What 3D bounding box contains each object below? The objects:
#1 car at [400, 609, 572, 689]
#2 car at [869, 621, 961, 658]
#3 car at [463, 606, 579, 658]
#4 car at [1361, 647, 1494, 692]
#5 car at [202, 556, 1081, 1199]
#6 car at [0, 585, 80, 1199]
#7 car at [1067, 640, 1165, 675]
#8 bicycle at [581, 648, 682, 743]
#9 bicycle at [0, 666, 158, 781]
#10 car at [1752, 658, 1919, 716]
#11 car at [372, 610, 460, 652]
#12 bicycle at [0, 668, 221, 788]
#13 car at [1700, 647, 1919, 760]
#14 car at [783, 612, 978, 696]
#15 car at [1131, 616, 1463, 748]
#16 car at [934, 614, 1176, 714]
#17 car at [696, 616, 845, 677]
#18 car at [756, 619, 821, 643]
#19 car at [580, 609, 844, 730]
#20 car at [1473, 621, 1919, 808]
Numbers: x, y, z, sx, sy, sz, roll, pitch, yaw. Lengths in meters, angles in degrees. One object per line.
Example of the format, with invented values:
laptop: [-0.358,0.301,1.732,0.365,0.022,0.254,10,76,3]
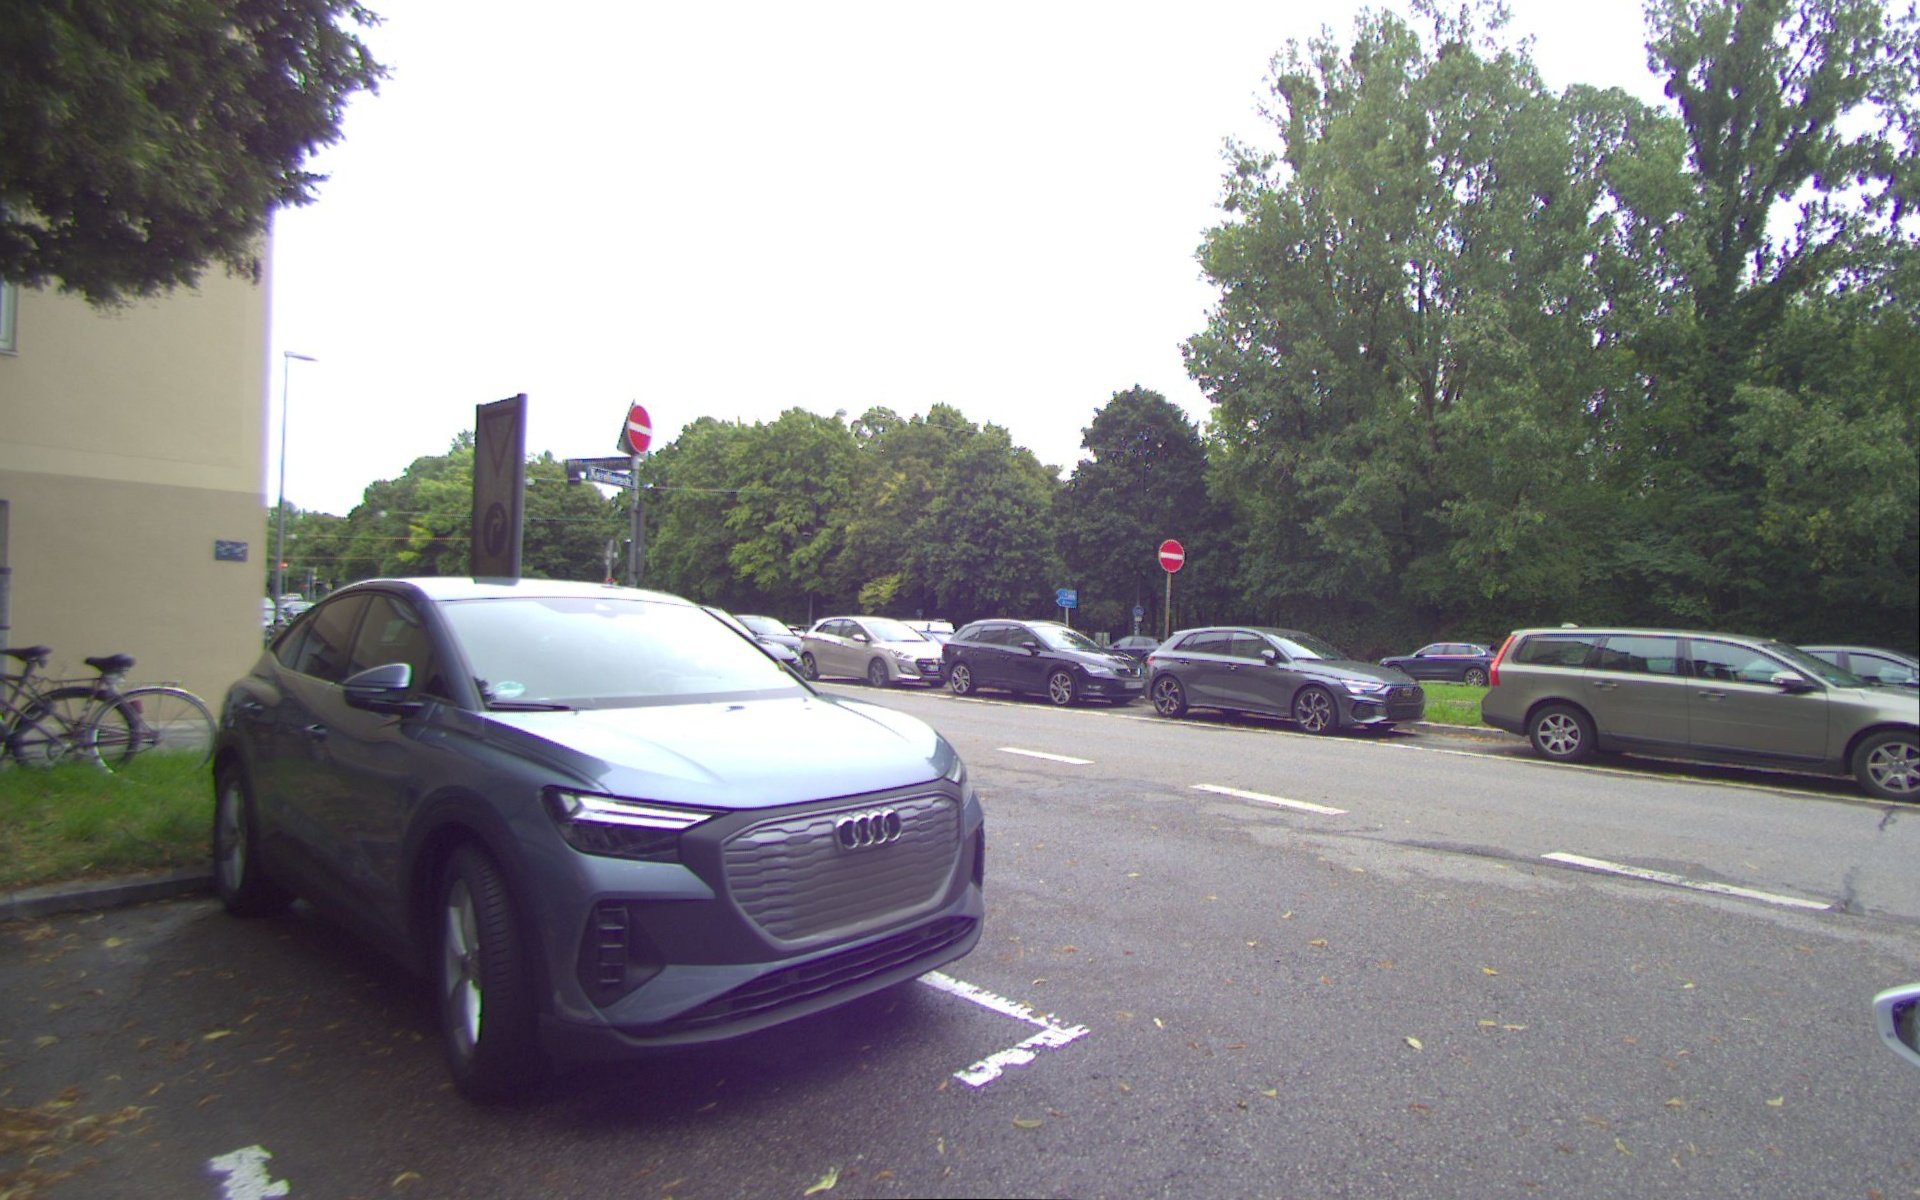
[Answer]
car: [-10.759,1.019,22.667,4.446,1.586,2.118,0,-1,45]
car: [-2.005,1.729,44.270,1.985,1.465,3.951,3,-2,-42]
car: [-16.314,1.162,37.176,5.018,1.725,2.065,1,-2,43]
car: [17.940,2.641,38.677,4.255,1.465,1.990,0,-3,42]
car: [-1.719,0.713,4.405,4.185,1.586,1.816,1,-2,43]
car: [-3.786,0.666,2.421,4.185,1.486,2.044,1,-2,43]
car: [7.473,2.744,48.250,4.255,1.465,1.990,0,-3,42]
bicycle: [-4.176,1.173,12.692,0.628,1.051,1.716,3,-2,-38]
bicycle: [-6.070,0.805,6.649,0.278,0.717,1.143,1,-2,43]
car: [26.893,2.611,30.406,4.460,1.465,1.990,0,-3,42]
car: [-24.232,1.367,44.667,4.495,1.725,2.065,0,-3,43]
bicycle: [-5.649,0.822,6.669,0.278,0.717,1.143,1,-2,43]
car: [13.756,1.533,15.023,1.750,1.480,4.028,3,-2,-39]
car: [-1.809,1.121,21.970,1.981,1.586,4.225,3,-2,-45]
car: [4.786,1.087,14.771,1.977,1.586,4.234,3,-2,-39]
car: [1.649,1.103,18.609,1.979,1.586,4.229,3,-2,-42]
car: [-5.023,1.174,26.321,1.757,1.388,4.225,3,-2,-45]
car: [-11.475,2.071,67.051,4.255,1.465,1.990,0,-3,42]
car: [-4.013,0.970,15.815,2.116,1.586,4.449,2,-1,-43]
car: [8.293,1.080,10.671,1.889,1.586,4.717,3,-2,-39]
